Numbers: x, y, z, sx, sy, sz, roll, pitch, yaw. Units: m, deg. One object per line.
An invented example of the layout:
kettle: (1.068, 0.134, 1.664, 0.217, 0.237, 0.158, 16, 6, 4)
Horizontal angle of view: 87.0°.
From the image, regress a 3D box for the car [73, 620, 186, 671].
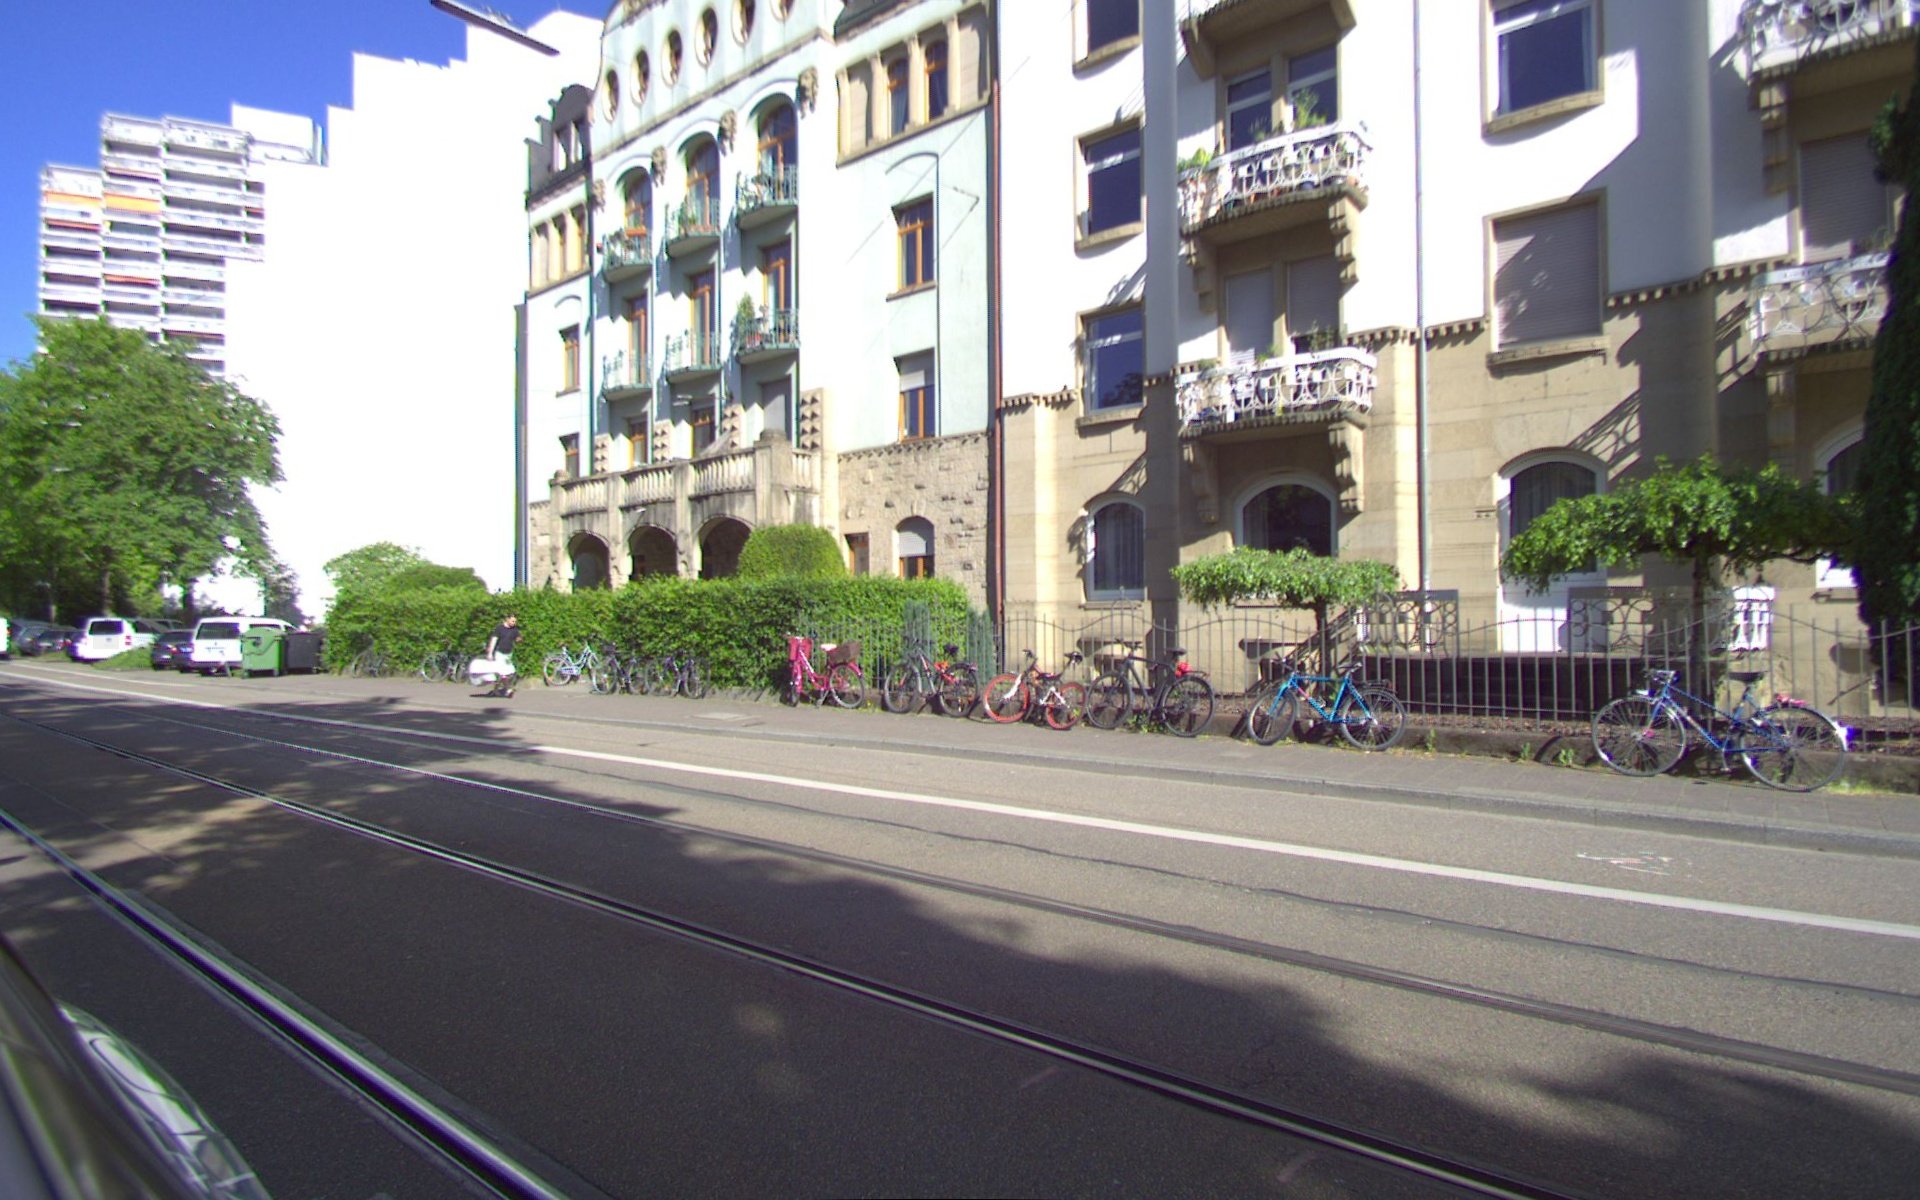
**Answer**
car: (-33.302, 1.793, 40.698, 1.894, 1.885, 3.447, -1, 0, -4)

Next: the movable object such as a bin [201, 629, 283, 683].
movable object such as a bin: (-20.818, 1.589, 29.341, 2.095, 1.443, 1.493, -1, 0, 41)

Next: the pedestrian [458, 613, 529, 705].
pedestrian: (-8.949, 1.111, 19.425, 0.870, 1.640, 0.858, -1, 4, 41)

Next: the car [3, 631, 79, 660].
car: (-48.454, 2.376, 53.379, 1.220, 1.436, 2.734, -1, 0, 24)

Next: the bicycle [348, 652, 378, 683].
bicycle: (-15.647, 1.760, 26.497, 1.263, 0.767, 0.293, -1, 0, 41)

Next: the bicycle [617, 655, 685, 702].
bicycle: (-5.584, 1.400, 18.244, 1.581, 0.767, 0.400, -1, 0, 41)

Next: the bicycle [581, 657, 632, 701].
bicycle: (-6.726, 1.484, 19.220, 1.263, 0.767, 0.335, -1, 0, 41)

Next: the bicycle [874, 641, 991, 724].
bicycle: (-0.408, 1.114, 14.025, 1.815, 1.031, 0.400, -1, 0, 41)

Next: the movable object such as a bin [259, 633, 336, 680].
movable object such as a bin: (-20.465, 1.717, 31.265, 2.095, 1.326, 1.482, -1, 0, 41)

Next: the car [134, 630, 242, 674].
car: (-27.692, 1.830, 36.354, 1.451, 1.446, 2.734, -1, 0, 24)

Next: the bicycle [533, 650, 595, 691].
bicycle: (-8.577, 1.520, 21.947, 0.297, 0.799, 1.246, -1, 0, 41)

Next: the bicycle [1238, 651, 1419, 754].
bicycle: (3.827, 1.039, 10.608, 1.748, 0.949, 0.400, -1, 0, 41)

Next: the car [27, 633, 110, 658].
car: (-42.931, 2.177, 48.772, 1.220, 1.097, 2.734, -1, 0, 24)

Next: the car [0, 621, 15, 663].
car: (-45.832, 1.961, 47.395, 1.968, 1.918, 4.007, -1, 0, -39)

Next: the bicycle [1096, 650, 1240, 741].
bicycle: (2.396, 1.079, 11.786, 1.648, 0.949, 0.400, -1, 0, 41)

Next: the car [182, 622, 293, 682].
car: (-22.915, 1.667, 32.239, 1.438, 1.787, 3.189, -1, -3, -5)

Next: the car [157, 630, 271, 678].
car: (-25.135, 1.796, 34.166, 1.451, 1.446, 2.734, -1, 0, 24)

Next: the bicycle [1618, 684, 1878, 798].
bicycle: (6.409, 1.120, 8.309, 1.651, 0.767, 0.314, -1, 0, 41)

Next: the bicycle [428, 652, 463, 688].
bicycle: (-11.958, 1.623, 23.509, 1.263, 0.767, 0.293, -1, 0, 41)

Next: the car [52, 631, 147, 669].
car: (-36.173, 2.082, 42.594, 1.451, 1.446, 2.734, -1, 0, 24)

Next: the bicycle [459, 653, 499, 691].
bicycle: (-10.613, 1.582, 22.327, 1.263, 0.767, 0.314, -1, 0, 41)

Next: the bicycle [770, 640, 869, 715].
bicycle: (-2.165, 1.156, 15.444, 1.815, 1.031, 0.400, -1, 0, 41)

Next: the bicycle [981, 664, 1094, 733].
bicycle: (0.966, 1.226, 12.861, 1.542, 0.767, 0.314, -1, 0, 41)
